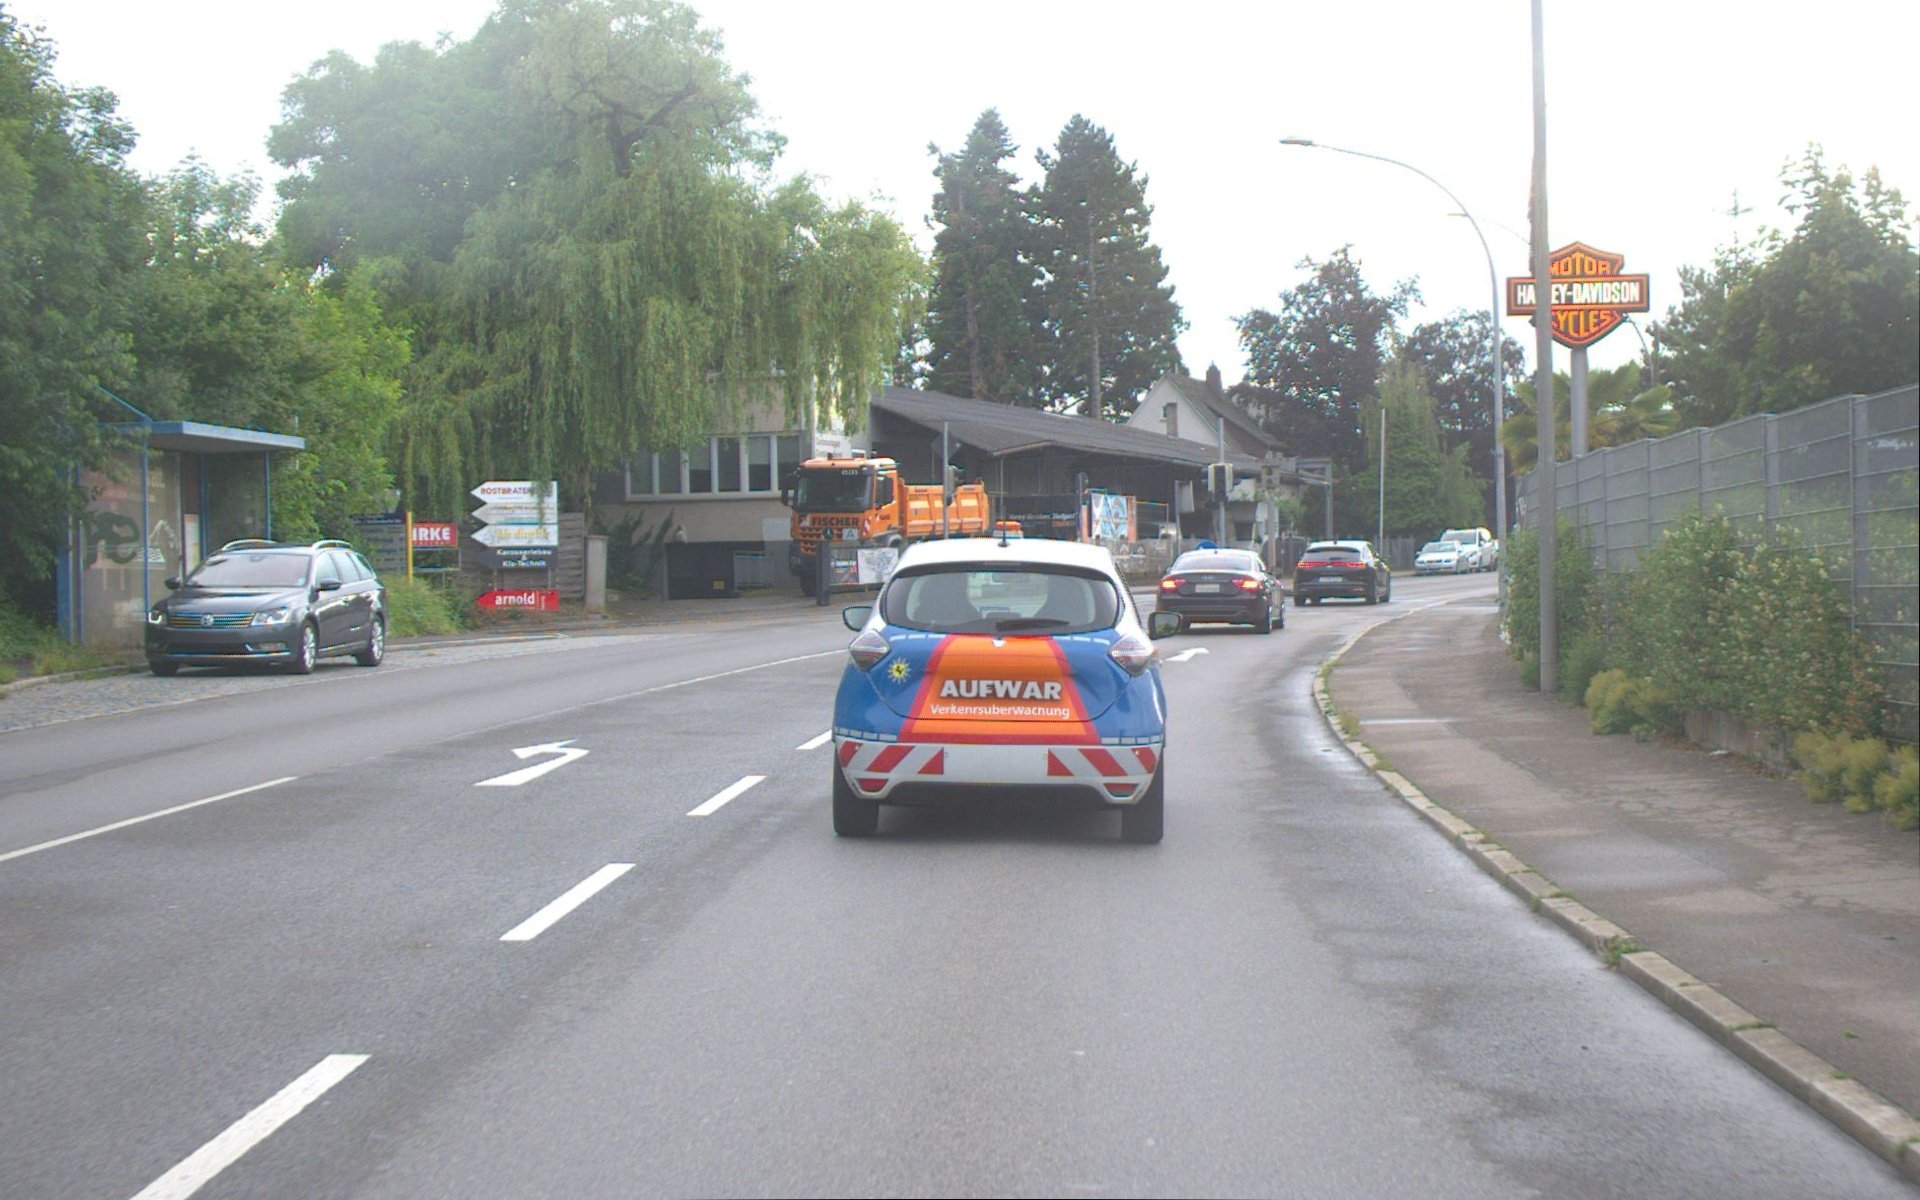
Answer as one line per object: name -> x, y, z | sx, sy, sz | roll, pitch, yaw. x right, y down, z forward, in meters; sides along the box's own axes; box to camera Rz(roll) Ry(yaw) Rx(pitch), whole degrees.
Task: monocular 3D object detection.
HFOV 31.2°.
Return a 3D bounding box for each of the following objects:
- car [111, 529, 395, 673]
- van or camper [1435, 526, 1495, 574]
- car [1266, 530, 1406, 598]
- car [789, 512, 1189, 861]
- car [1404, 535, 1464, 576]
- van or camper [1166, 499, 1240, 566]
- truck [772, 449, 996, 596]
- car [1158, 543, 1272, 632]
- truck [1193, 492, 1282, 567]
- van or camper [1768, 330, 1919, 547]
car -> -7.942, 0.032, 39.074 | 1.994, 1.469, 4.700 | 2, 0, 3
van or camper -> 21.788, -2.161, 148.100 | 1.892, 2.007, 5.093 | 0, 1, 16
car -> 8.318, -0.809, 75.806 | 1.996, 1.415, 3.995 | -1, 0, 22
car -> 0.199, 0.394, 18.916 | 1.889, 1.626, 4.000 | 3, 1, 2
car -> 19.599, -1.841, 141.960 | 1.995, 1.639, 3.997 | 0, 1, 15
van or camper -> 9.590, -2.640, 135.579 | 1.860, 2.429, 5.230 | 2, 0, 15
truck -> -1.826, -1.920, 88.661 | 2.700, 3.400, 9.062 | 2, 0, 19
car -> 4.163, -0.183, 56.558 | 1.720, 1.371, 3.933 | 2, 0, 3
truck -> 11.416, -2.869, 141.000 | 2.396, 2.917, 5.952 | 2, 1, 16
van or camper -> 11.722, -2.029, 44.955 | 2.042, 2.584, 6.585 | -1, 1, 15
